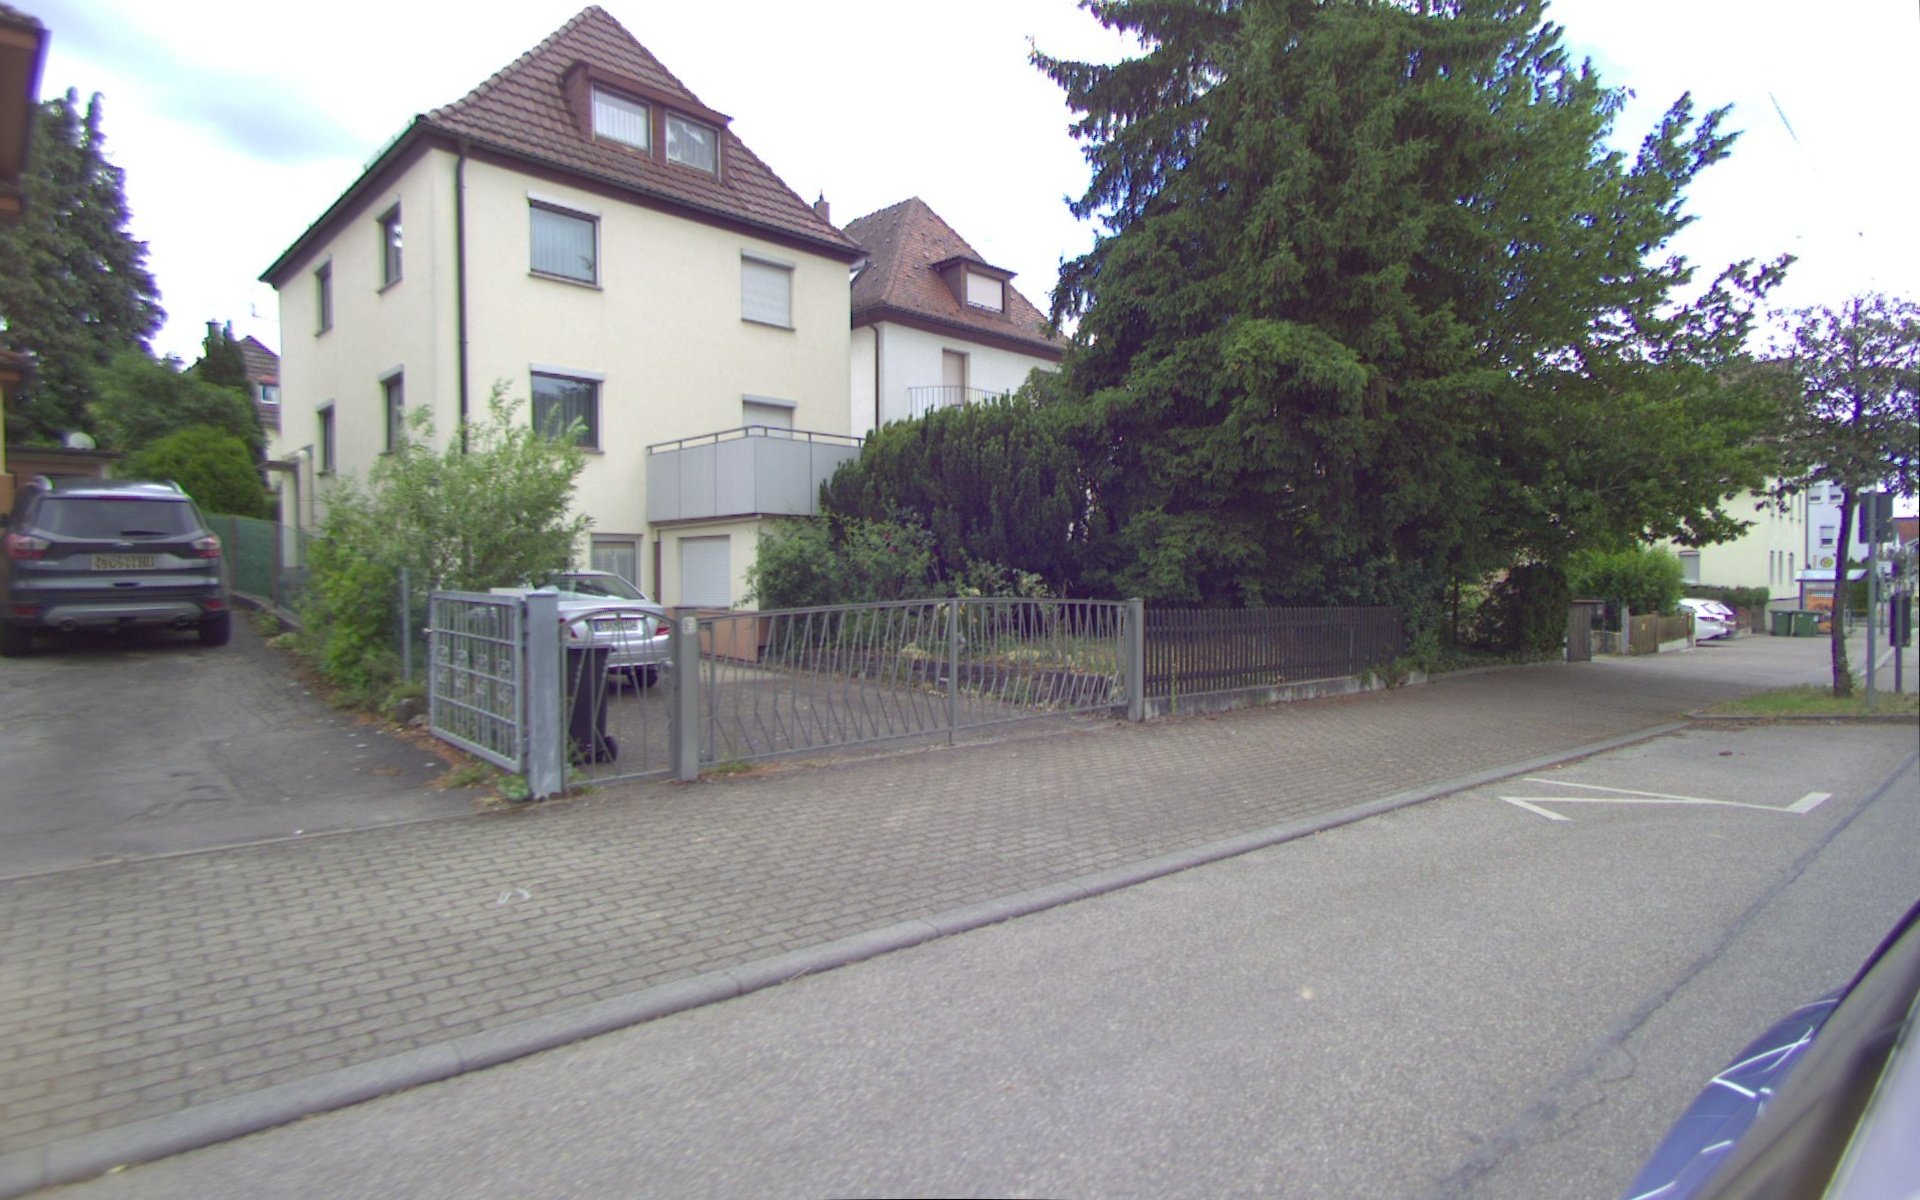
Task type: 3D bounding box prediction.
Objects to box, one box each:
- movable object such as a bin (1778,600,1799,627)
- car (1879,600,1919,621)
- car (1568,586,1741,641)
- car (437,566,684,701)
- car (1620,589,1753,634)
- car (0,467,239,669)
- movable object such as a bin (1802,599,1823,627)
[{"bbox_3d":[33.237,0.535,40.598,0.635,1.059,0.577,1,1,41],"label":"movable object such as a bin"},{"bbox_3d":[71.904,0.794,77.505,1.836,1.538,3.949,-1,1,36],"label":"car"},{"bbox_3d":[23.069,0.390,33.743,1.833,1.506,4.428,-1,4,-42],"label":"car"},{"bbox_3d":[-5.117,0.295,12.662,1.617,1.410,3.993,-1,2,-41],"label":"car"},{"bbox_3d":[26.794,0.377,37.390,3.804,1.418,1.615,4,4,44],"label":"car"},{"bbox_3d":[-9.337,-0.503,11.003,1.855,1.722,3.994,-3,9,-44],"label":"car"},{"bbox_3d":[33.783,0.516,40.102,0.635,1.059,0.577,-1,0,41],"label":"movable object such as a bin"}]
